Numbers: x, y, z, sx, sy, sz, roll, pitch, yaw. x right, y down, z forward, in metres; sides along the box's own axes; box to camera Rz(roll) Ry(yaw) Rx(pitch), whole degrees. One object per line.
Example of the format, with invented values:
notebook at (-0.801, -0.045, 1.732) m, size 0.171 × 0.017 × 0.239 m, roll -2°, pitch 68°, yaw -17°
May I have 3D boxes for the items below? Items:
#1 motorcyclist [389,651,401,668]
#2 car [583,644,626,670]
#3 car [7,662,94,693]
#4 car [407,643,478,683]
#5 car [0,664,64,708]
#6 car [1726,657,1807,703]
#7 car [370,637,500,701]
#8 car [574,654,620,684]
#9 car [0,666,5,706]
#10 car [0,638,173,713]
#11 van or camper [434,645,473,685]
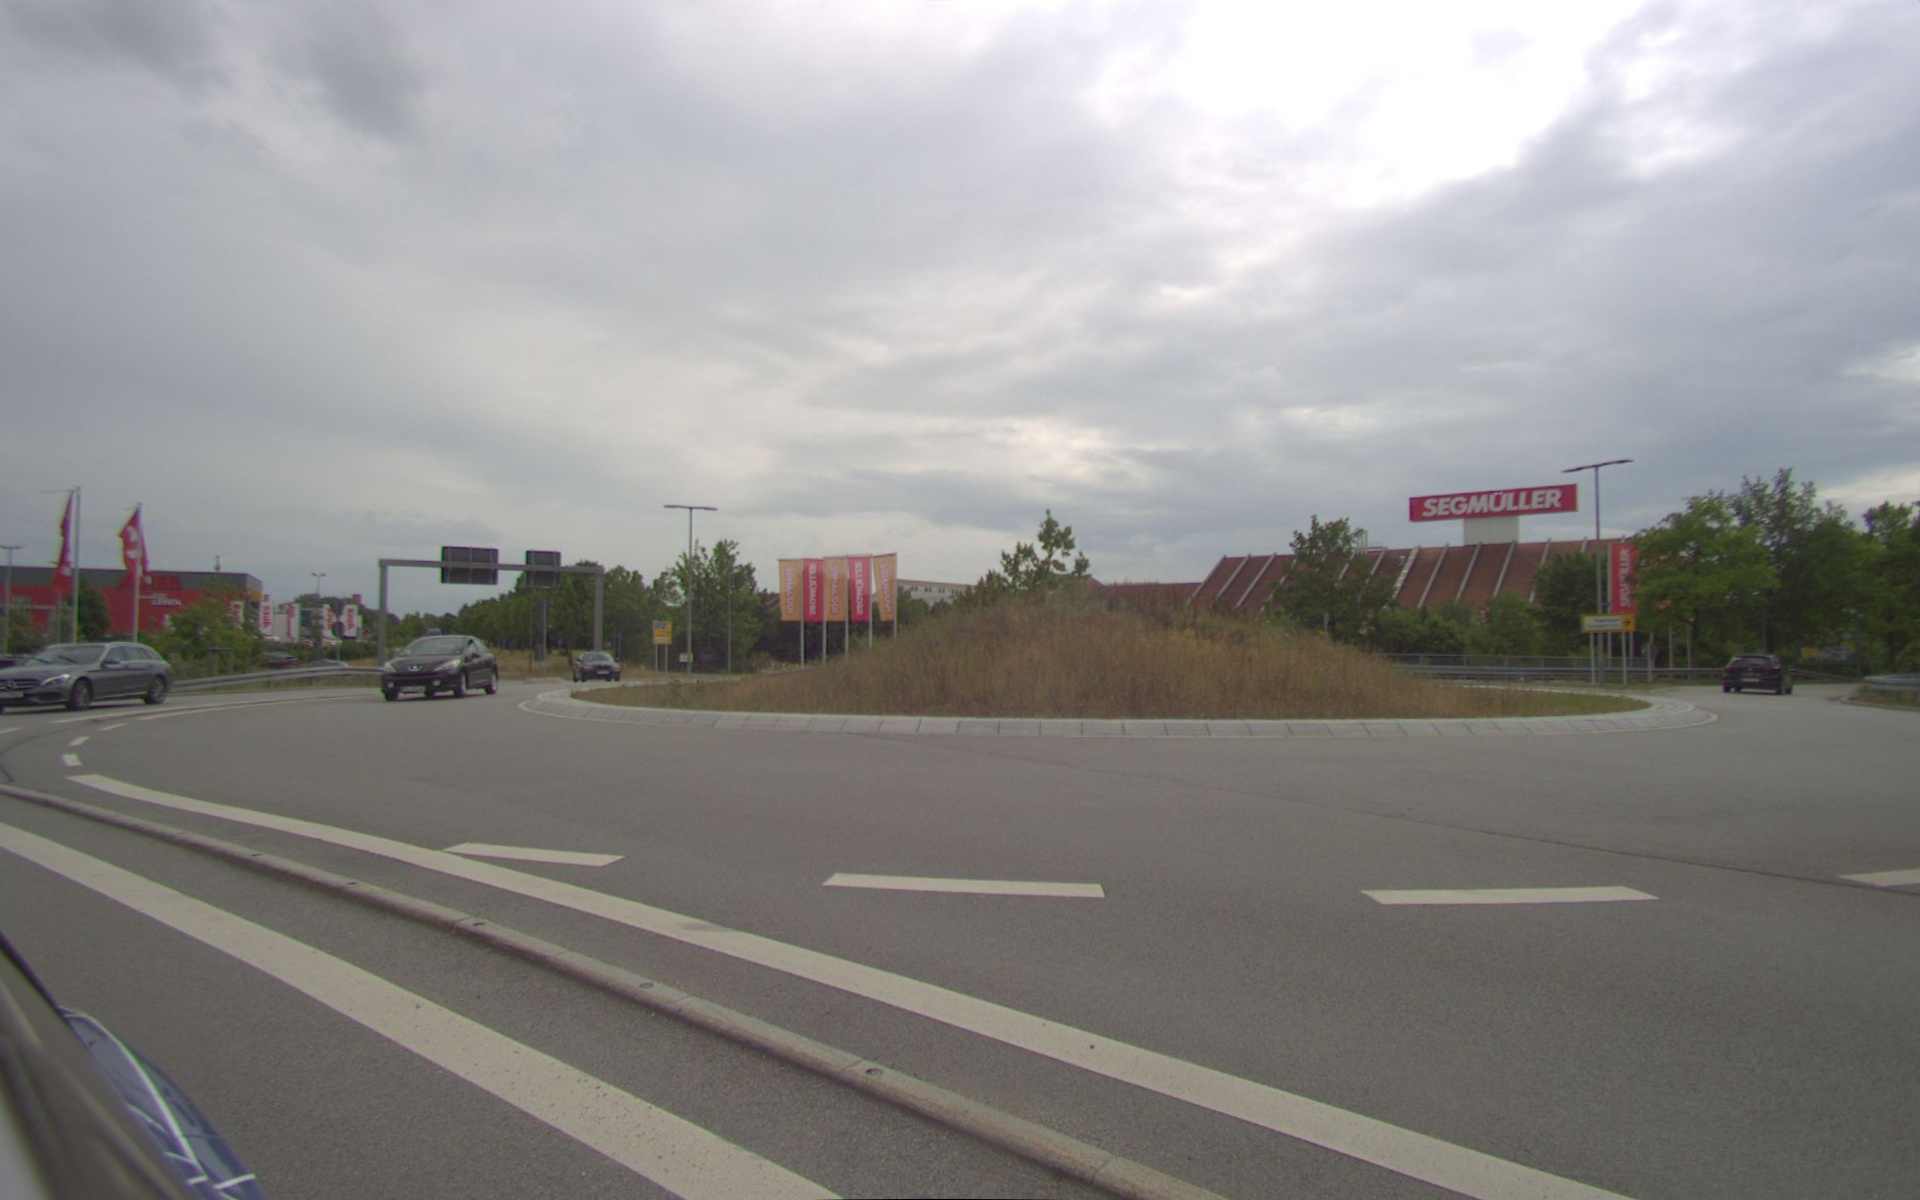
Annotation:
motorcyclist at (-54.491, 5.780, 97.639) m, size 0.844 × 1.588 × 0.667 m, roll -4°, pitch -6°, yaw 33°
car at (-26.071, 4.145, 74.096) m, size 2.069 × 1.804 × 5.066 m, roll 1°, pitch -3°, yaw -30°
car at (-50.796, 4.334, 56.547) m, size 4.038 × 1.635 × 1.642 m, roll -3°, pitch -5°, yaw 15°
car at (-20.169, 2.424, 39.621) m, size 1.829 × 1.423 × 4.571 m, roll 0°, pitch -2°, yaw -19°
car at (-45.499, 4.176, 48.534) m, size 4.039 × 1.922 × 1.897 m, roll -4°, pitch -3°, yaw 15°
car at (28.769, 2.803, 36.073) m, size 3.259 × 1.520 × 1.567 m, roll 2°, pitch -3°, yaw -39°
car at (-12.248, 1.617, 23.863) m, size 1.556 × 1.364 × 3.830 m, roll 0°, pitch -4°, yaw -9°
car at (-16.679, 3.154, 46.597) m, size 1.554 × 1.278 × 3.321 m, roll 0°, pitch -2°, yaw -11°
car at (-40.622, 3.393, 40.120) m, size 4.025 × 1.591 × 1.768 m, roll 1°, pitch -2°, yaw 5°
car at (-19.217, 1.566, 21.989) m, size 1.736 × 1.431 × 4.101 m, roll 1°, pitch -2°, yaw -13°
van or camper at (-32.277, 4.103, 64.456) m, size 2.018 × 2.382 × 5.558 m, roll 0°, pitch -3°, yaw -29°
